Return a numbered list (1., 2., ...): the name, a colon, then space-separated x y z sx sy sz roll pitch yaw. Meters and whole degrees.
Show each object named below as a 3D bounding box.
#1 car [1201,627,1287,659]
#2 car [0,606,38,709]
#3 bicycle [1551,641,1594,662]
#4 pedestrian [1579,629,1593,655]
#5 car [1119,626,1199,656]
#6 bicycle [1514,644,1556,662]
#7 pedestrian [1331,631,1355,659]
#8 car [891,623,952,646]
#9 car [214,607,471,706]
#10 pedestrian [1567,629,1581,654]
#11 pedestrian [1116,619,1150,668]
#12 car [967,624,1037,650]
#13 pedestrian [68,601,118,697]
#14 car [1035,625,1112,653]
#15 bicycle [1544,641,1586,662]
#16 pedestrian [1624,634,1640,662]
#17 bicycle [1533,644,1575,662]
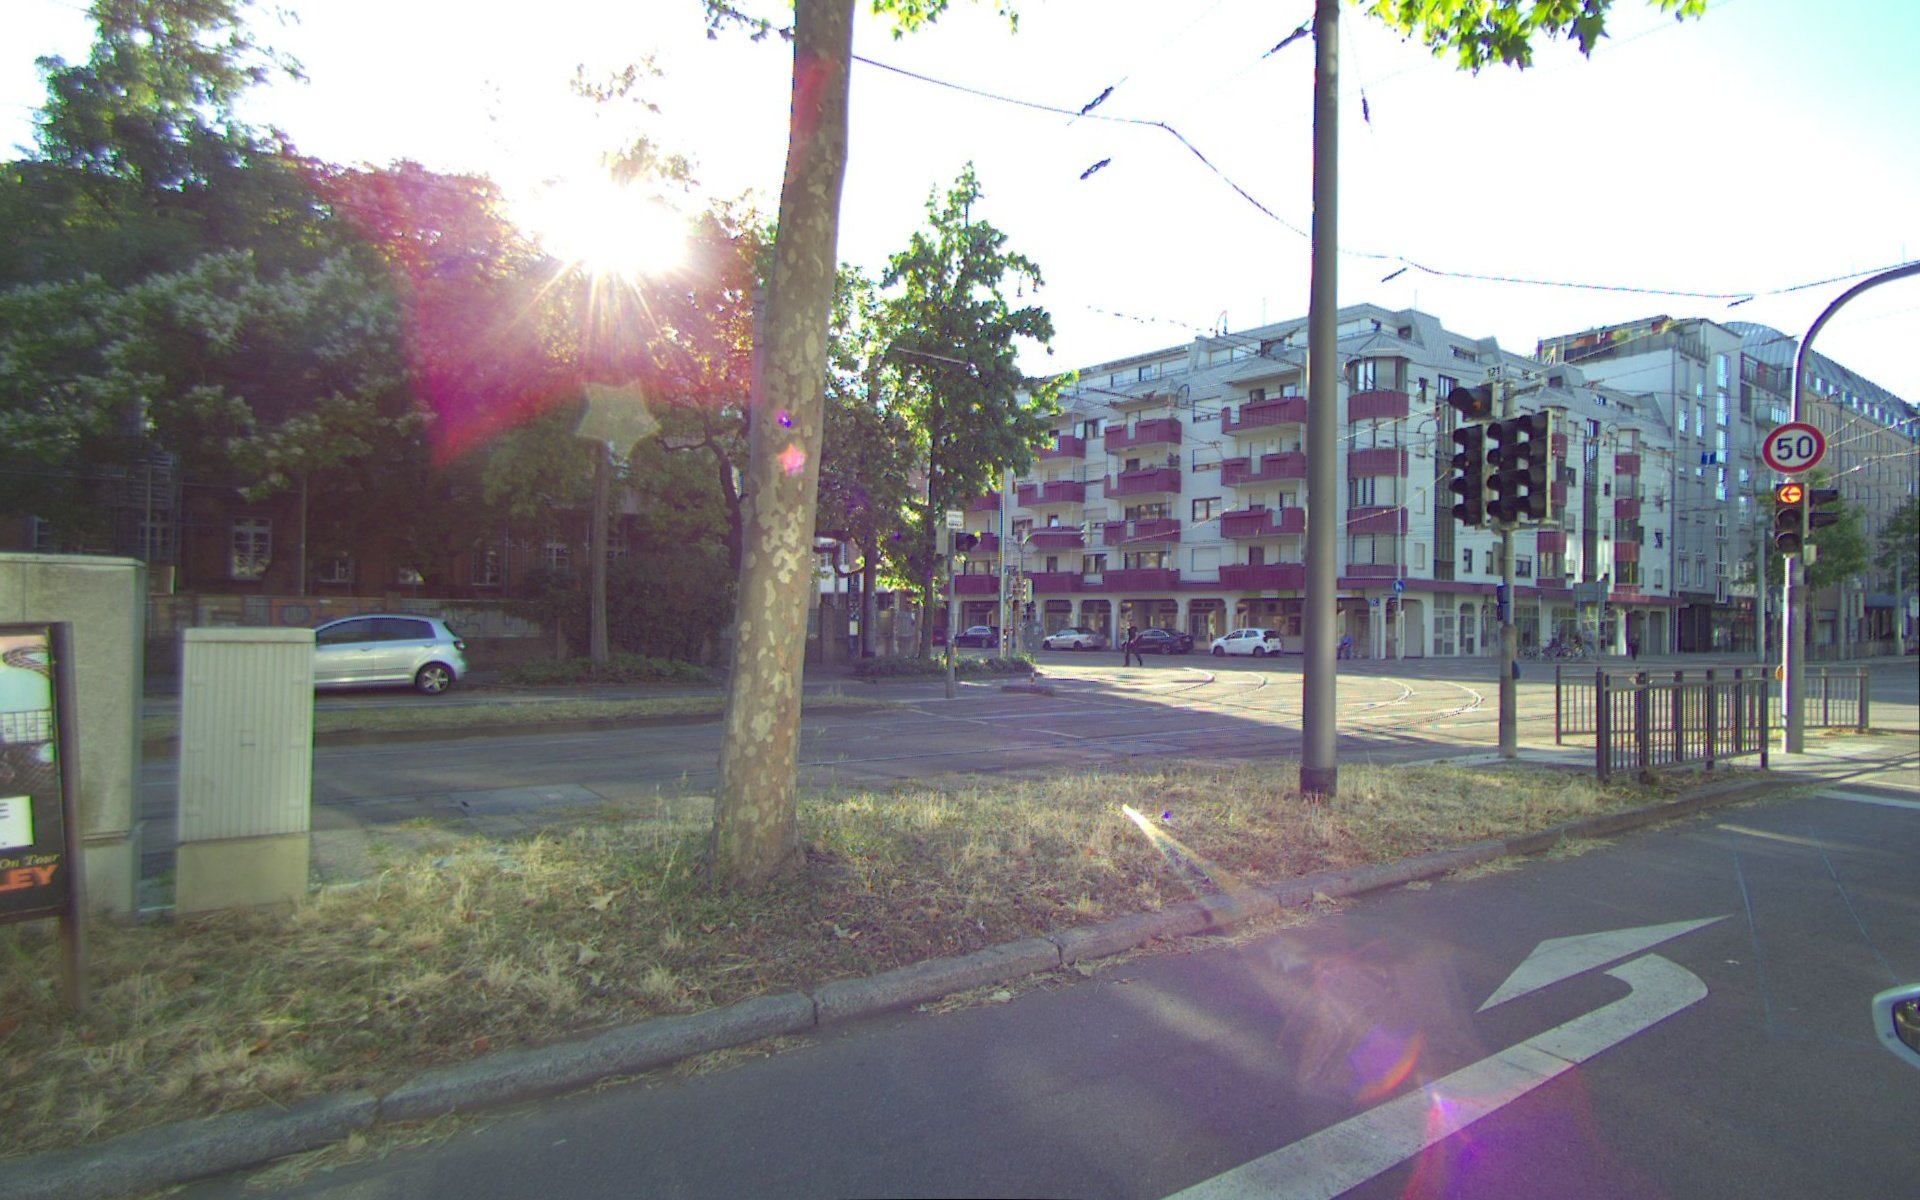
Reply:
1. car: 14.894 2.247 52.763 1.986 1.576 3.950 2 -2 -42
2. car: -17.141 0.866 15.261 4.418 1.522 2.065 2 1 -38
3. bicycle: 31.983 2.674 52.453 0.548 0.998 1.830 1 -1 -36
4. pedestrian: 37.303 2.513 59.843 0.582 1.514 0.530 1 -1 -38
5. car: 11.165 2.272 56.608 1.986 1.576 4.072 2 -2 -42
6. bicycle: 29.496 2.688 51.528 0.547 0.865 1.833 1 -1 -32
7. pedestrian: 19.065 2.233 49.991 0.848 1.402 0.831 0 -1 45
8. car: -2.807 2.452 72.204 1.986 1.576 4.527 2 -2 -42
9. car: -11.988 1.044 19.595 4.062 1.641 2.065 2 1 -38
10. pedestrian: 36.903 2.504 60.384 0.582 1.514 0.530 1 -1 -38
11. pedestrian: 6.413 1.594 37.209 1.010 1.775 0.728 1 -1 -38
12. car: 2.725 2.420 66.233 1.986 1.576 4.527 2 -2 -42
13. pedestrian: -15.698 0.877 18.200 0.626 1.687 0.563 1 1 -37
14. car: 6.891 2.355 61.194 1.986 1.576 4.527 2 -2 -42
15. bicycle: 31.427 2.674 52.202 0.548 0.998 1.830 1 -1 -36
16. pedestrian: 38.509 2.738 57.551 0.684 1.564 1.045 0 -1 38
17. bicycle: 30.414 2.683 51.448 0.547 0.865 1.833 1 -1 -32
